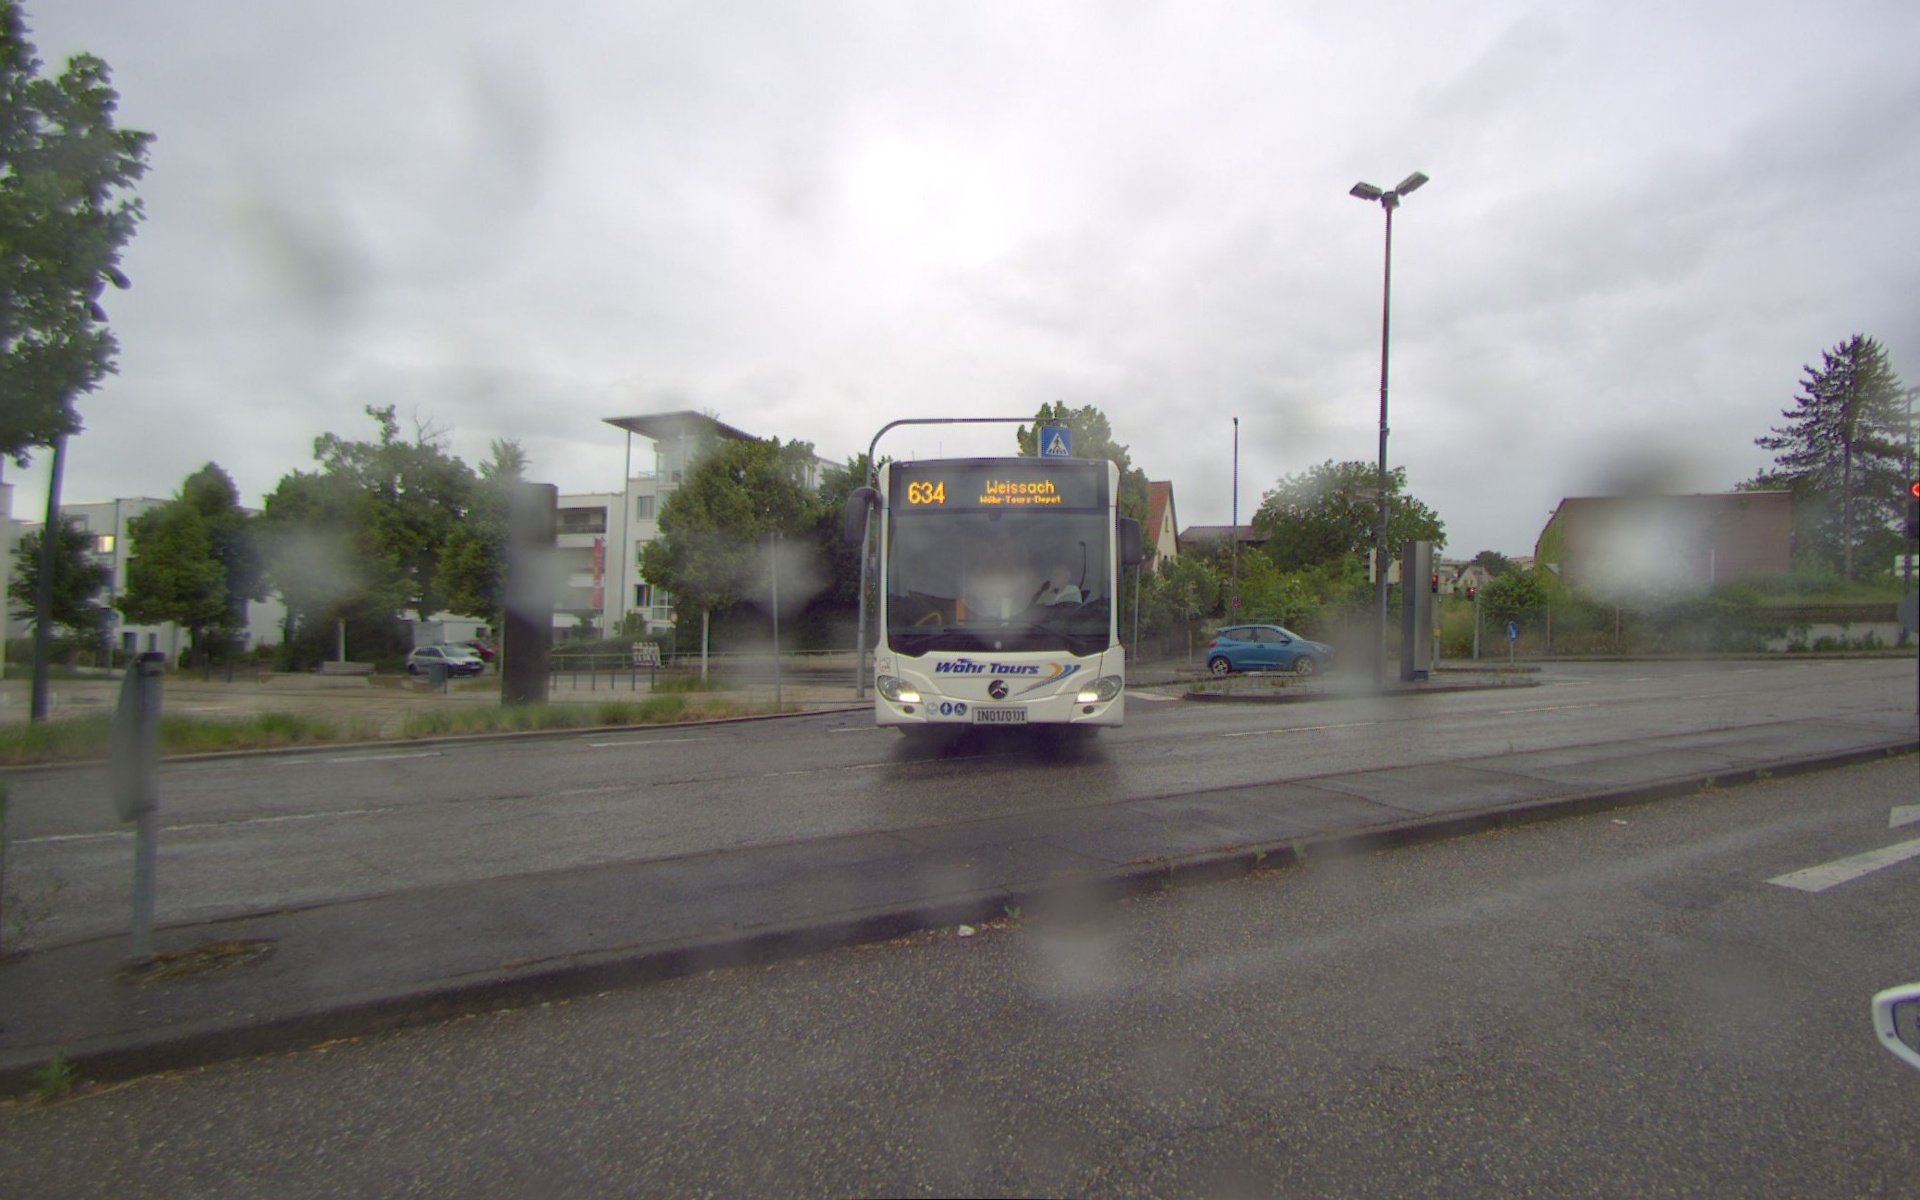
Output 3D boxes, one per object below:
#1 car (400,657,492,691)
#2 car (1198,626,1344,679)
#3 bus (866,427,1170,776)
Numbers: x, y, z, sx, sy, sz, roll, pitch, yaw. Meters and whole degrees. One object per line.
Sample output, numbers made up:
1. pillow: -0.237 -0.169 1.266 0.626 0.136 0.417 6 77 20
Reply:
1. car: -23.911 3.421 46.712 3.922 1.486 1.586 0 -2 21
2. car: 8.977 1.481 29.037 3.685 1.437 1.762 -2 -2 33
3. bus: 0.545 0.139 13.611 2.745 3.155 8.885 1 -2 0
